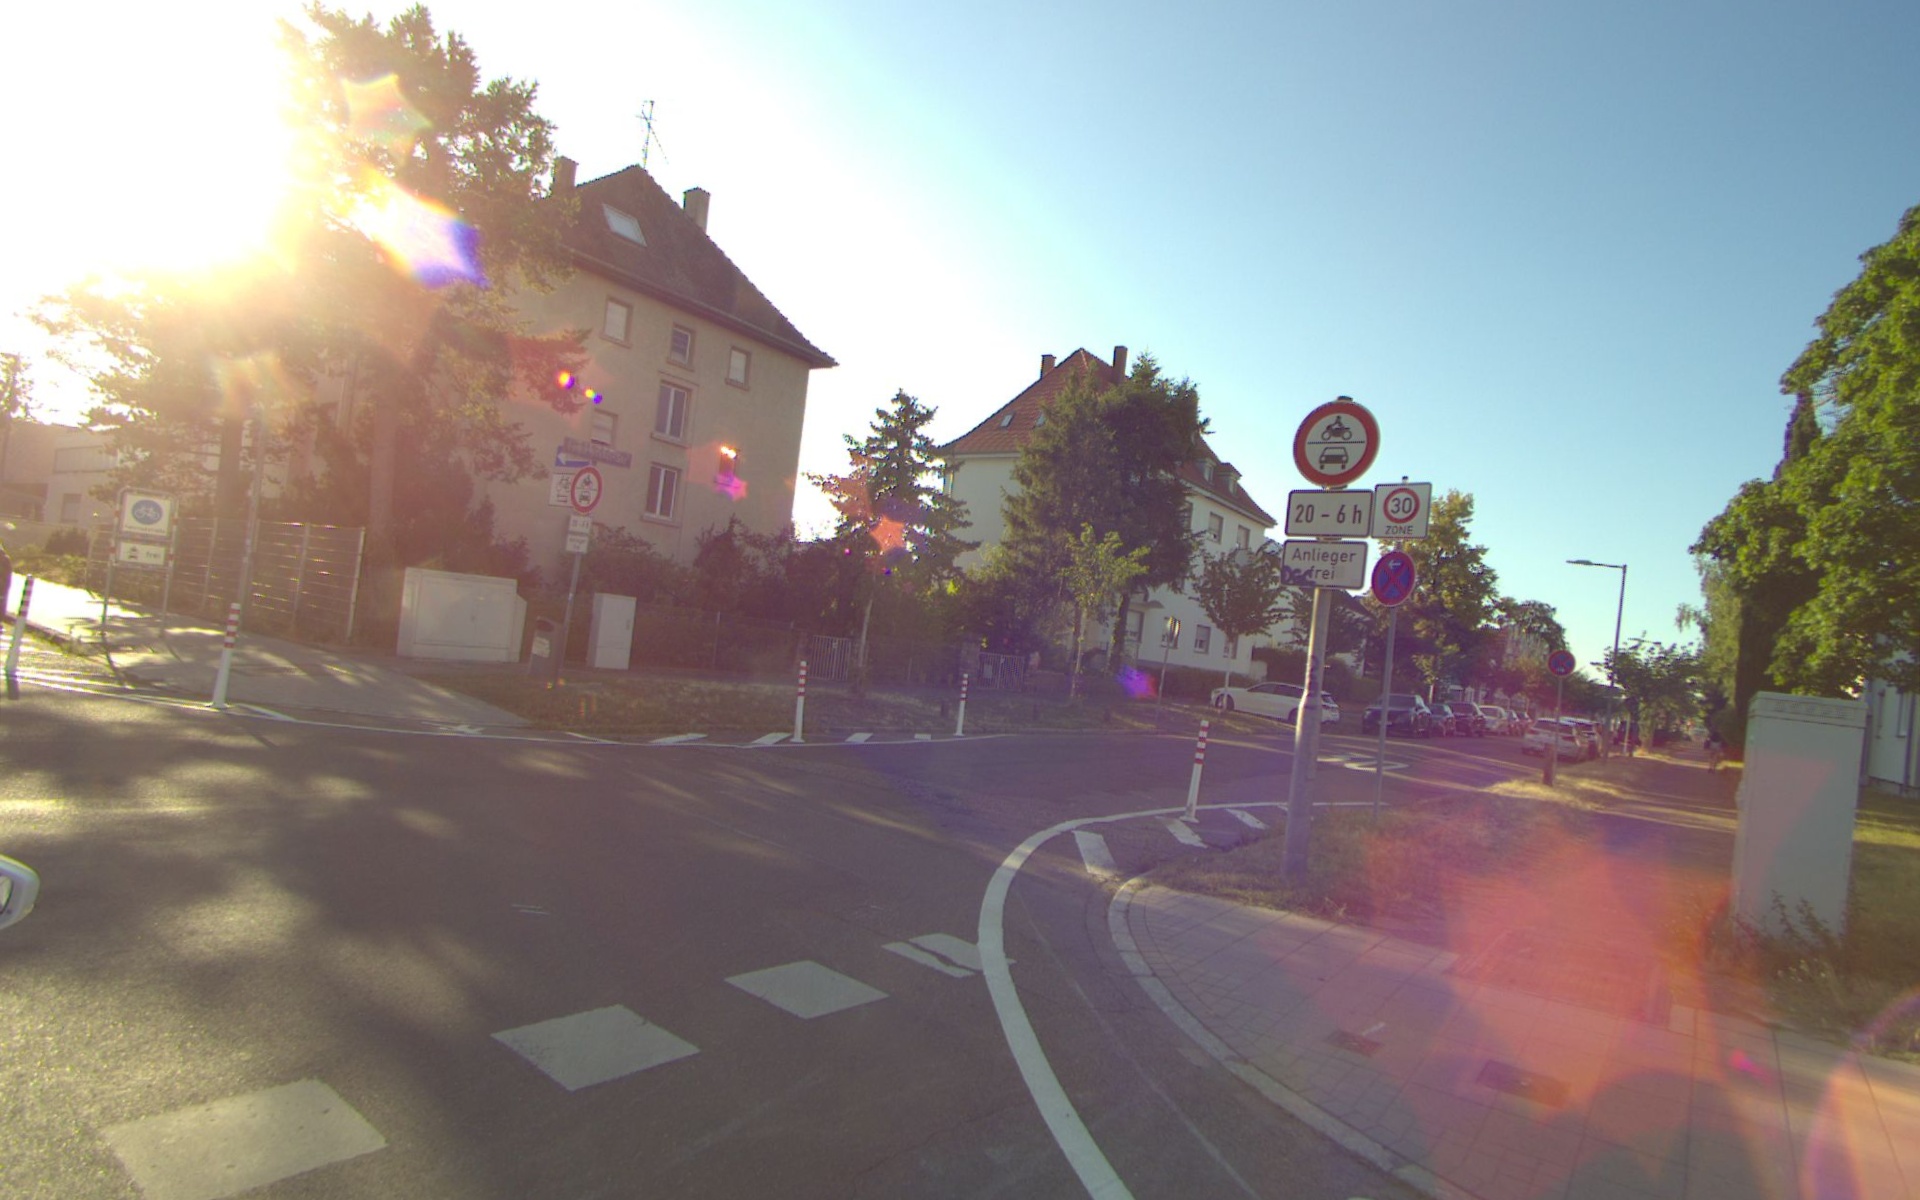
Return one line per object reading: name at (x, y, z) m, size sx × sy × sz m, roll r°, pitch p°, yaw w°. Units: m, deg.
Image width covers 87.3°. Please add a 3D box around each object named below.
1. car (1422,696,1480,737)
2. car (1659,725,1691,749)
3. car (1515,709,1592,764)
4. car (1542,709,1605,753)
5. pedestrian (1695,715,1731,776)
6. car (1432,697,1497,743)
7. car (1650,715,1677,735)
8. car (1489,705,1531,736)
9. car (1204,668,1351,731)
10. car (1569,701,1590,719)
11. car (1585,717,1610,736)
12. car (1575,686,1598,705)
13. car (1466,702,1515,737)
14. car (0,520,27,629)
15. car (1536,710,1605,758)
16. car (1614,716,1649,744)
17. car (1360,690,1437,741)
car at (23.876, 5.655, 48.832) m, size 1.940 × 1.632 × 4.239 m, roll 5°, pitch -3°, yaw 33°
car at (59.393, 11.359, 83.552) m, size 1.942 × 1.632 × 4.236 m, roll 5°, pitch -3°, yaw 36°
car at (21.640, 4.929, 36.606) m, size 1.942 × 1.632 × 4.236 m, roll 5°, pitch -3°, yaw 36°
car at (27.545, 5.874, 45.111) m, size 1.942 × 1.632 × 4.236 m, roll 5°, pitch -3°, yaw 36°
pedestrian at (27.264, 5.253, 36.413) m, size 0.886 × 2.037 × 0.690 m, roll 5°, pitch -1°, yaw 39°
car at (21.912, 5.202, 43.641) m, size 1.940 × 1.632 × 4.239 m, roll 5°, pitch -3°, yaw 33°
car at (67.790, 12.016, 96.896) m, size 1.942 × 1.632 × 4.236 m, roll 5°, pitch -3°, yaw 36°
car at (35.118, 7.680, 64.182) m, size 1.940 × 1.632 × 4.239 m, roll 5°, pitch -3°, yaw 33°
car at (11.833, 3.706, 37.633) m, size 4.763 × 1.632 × 1.967 m, roll 6°, pitch -2°, yaw 36°
car at (74.605, 13.235, 121.104) m, size 1.940 × 1.795 × 4.239 m, roll 5°, pitch -3°, yaw 33°
car at (67.033, 13.289, 105.716) m, size 1.941 × 1.632 × 4.238 m, roll 5°, pitch -3°, yaw 34°
car at (69.102, 10.523, 110.849) m, size 1.940 × 1.795 × 4.239 m, roll 5°, pitch -3°, yaw 33°
car at (29.790, 6.713, 56.451) m, size 1.940 × 1.632 × 4.239 m, roll 5°, pitch -3°, yaw 33°
car at (-16.978, -0.640, 16.352) m, size 4.154 × 1.658 × 1.820 m, roll 5°, pitch -5°, yaw 38°
car at (25.025, 5.465, 41.164) m, size 1.942 × 1.632 × 4.236 m, roll 5°, pitch -3°, yaw 36°
car at (48.453, 9.364, 72.642) m, size 1.940 × 1.632 × 4.239 m, roll 5°, pitch -3°, yaw 33°
car at (17.091, 4.471, 39.126) m, size 1.940 × 1.632 × 4.239 m, roll 5°, pitch -3°, yaw 33°
